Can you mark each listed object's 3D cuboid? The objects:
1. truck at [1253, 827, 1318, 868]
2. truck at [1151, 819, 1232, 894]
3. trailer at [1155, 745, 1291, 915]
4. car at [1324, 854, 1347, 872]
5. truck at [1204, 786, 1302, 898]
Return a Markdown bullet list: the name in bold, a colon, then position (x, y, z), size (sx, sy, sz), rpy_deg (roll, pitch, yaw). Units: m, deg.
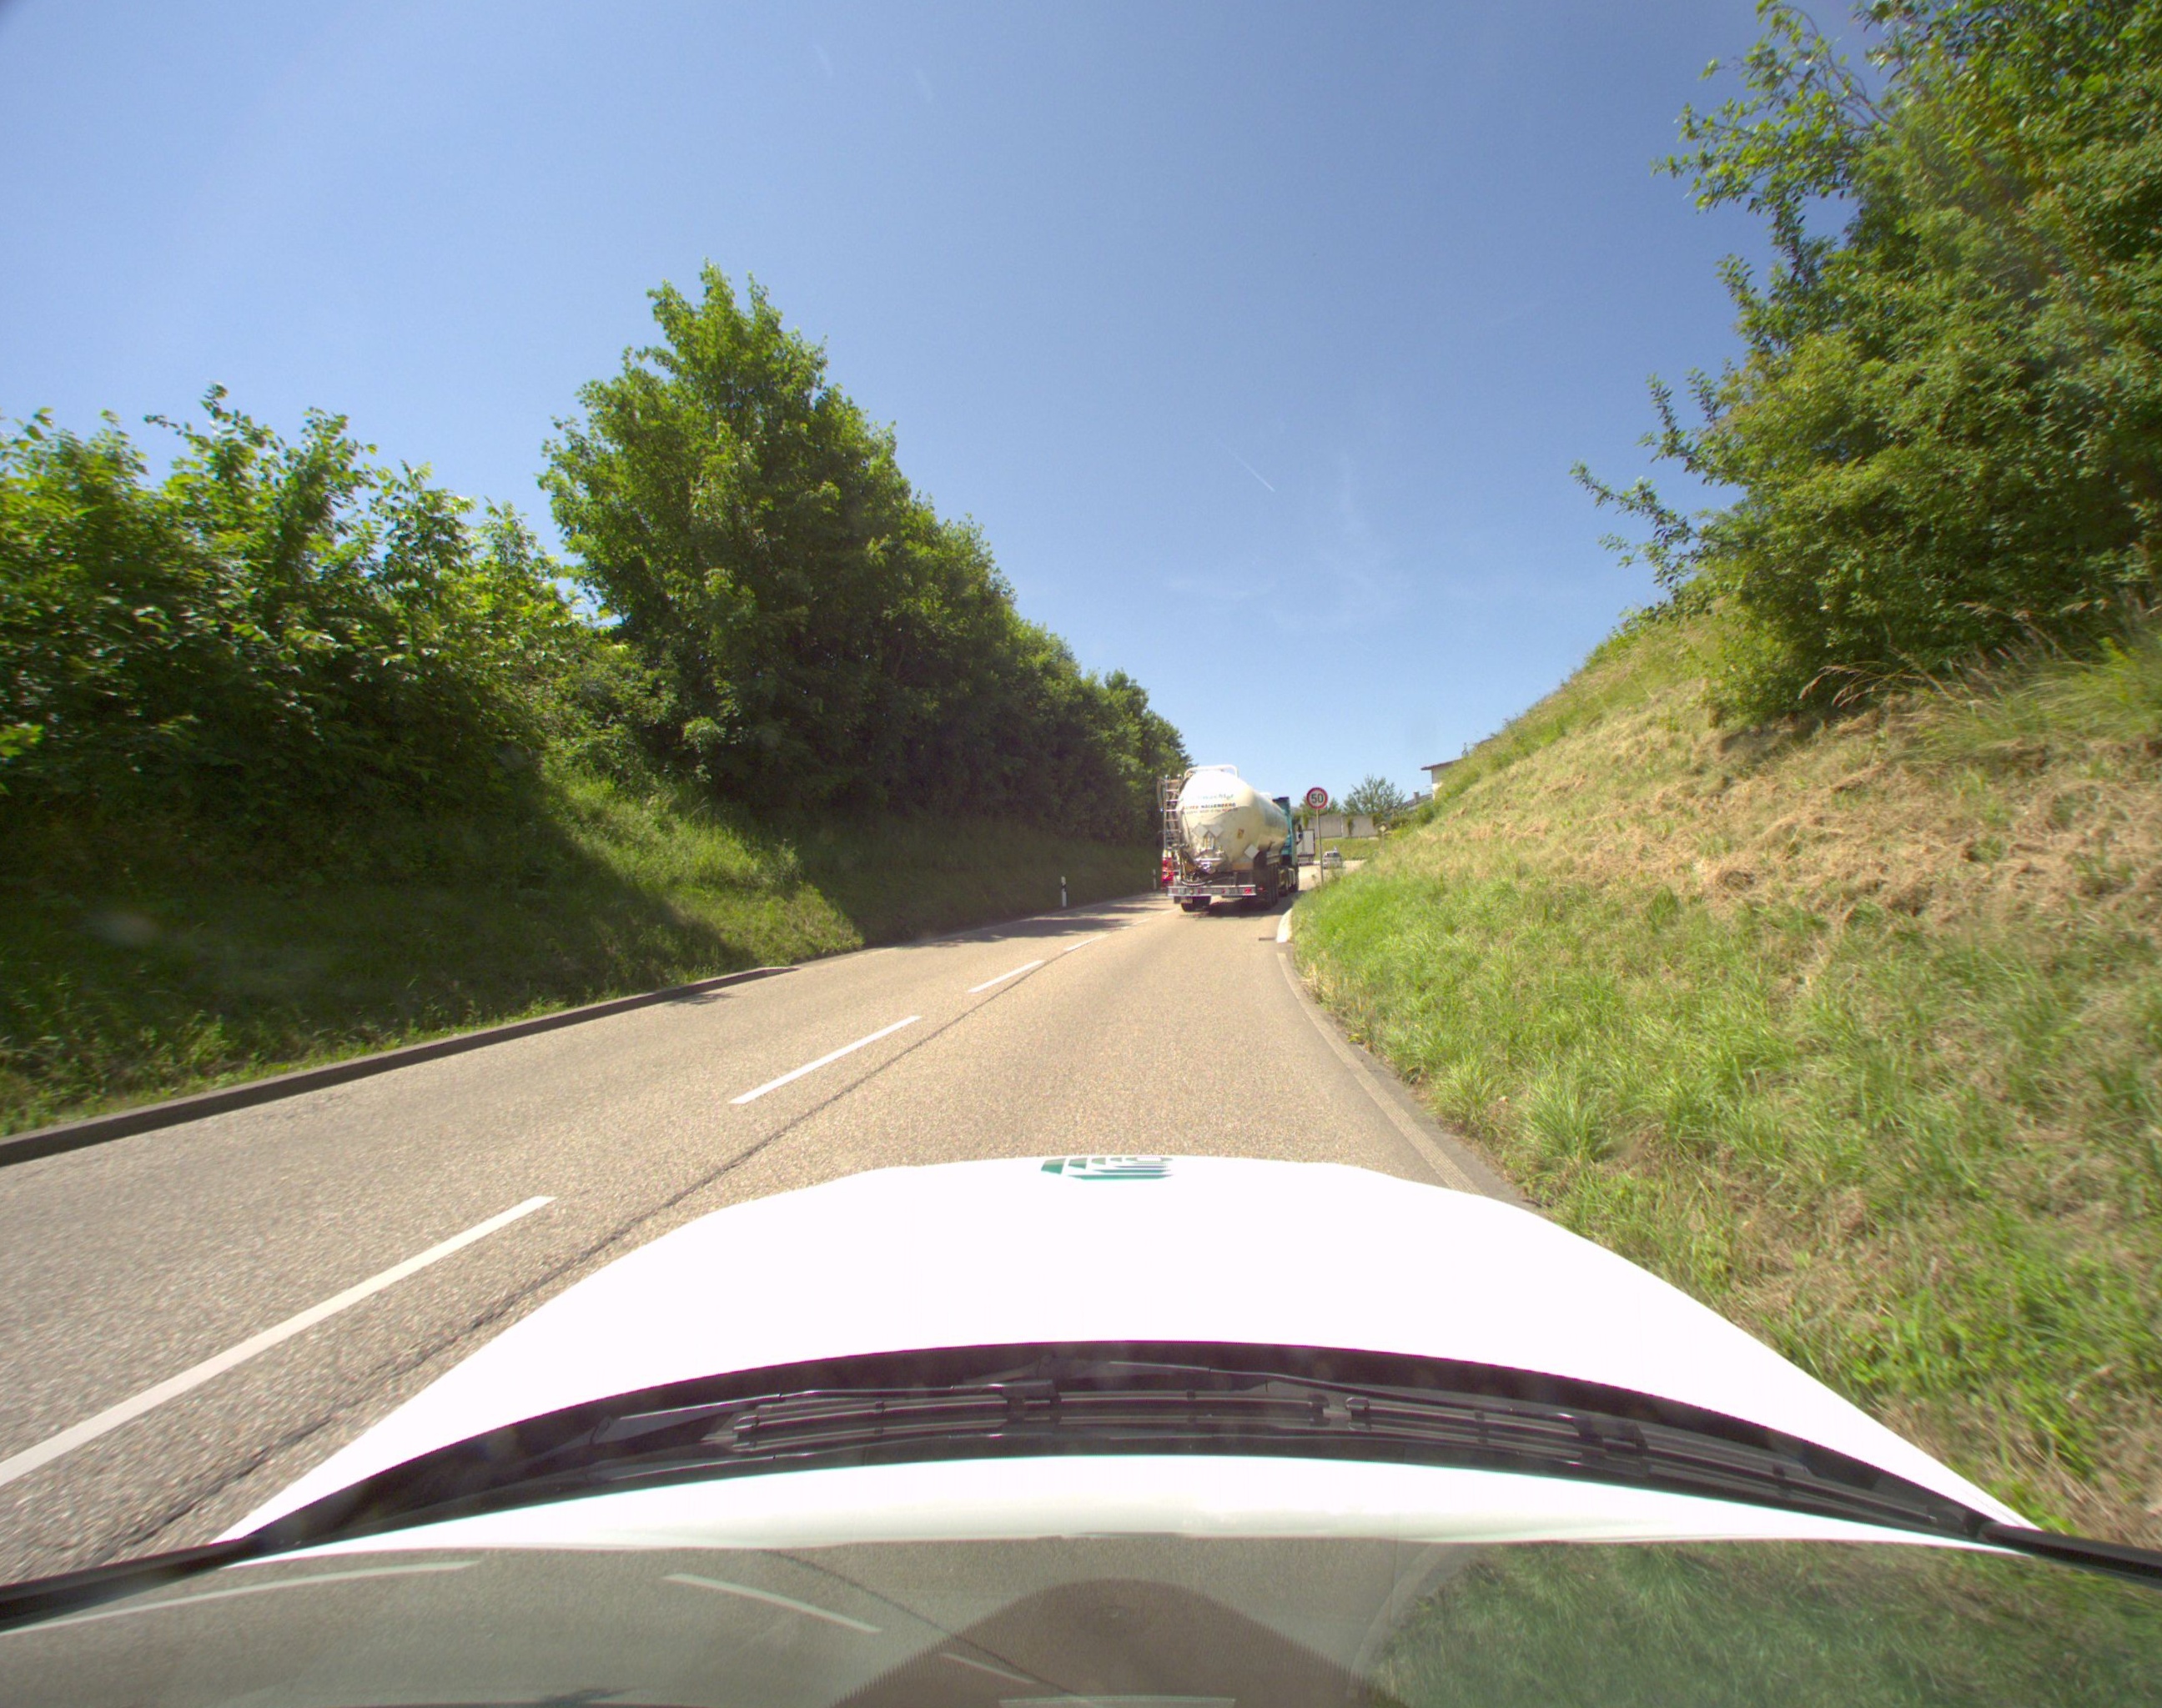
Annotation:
- **truck**: position (22.972, -0.683, 92.439), size (3.187, 4.309, 11.773), rpy_deg (0, 0, -6)
- **truck**: position (5.397, 0.146, 38.659), size (2.605, 3.170, 7.099), rpy_deg (-2, -1, 17)
- **trailer**: position (5.031, -0.543, 26.275), size (2.640, 4.189, 11.957), rpy_deg (-2, -1, 17)
- **car**: position (22.250, 0.791, 71.195), size (1.633, 1.509, 3.657), rpy_deg (0, -1, 22)
- **truck**: position (7.050, -0.390, 32.474), size (2.704, 3.930, 7.300), rpy_deg (-1, -1, 20)
